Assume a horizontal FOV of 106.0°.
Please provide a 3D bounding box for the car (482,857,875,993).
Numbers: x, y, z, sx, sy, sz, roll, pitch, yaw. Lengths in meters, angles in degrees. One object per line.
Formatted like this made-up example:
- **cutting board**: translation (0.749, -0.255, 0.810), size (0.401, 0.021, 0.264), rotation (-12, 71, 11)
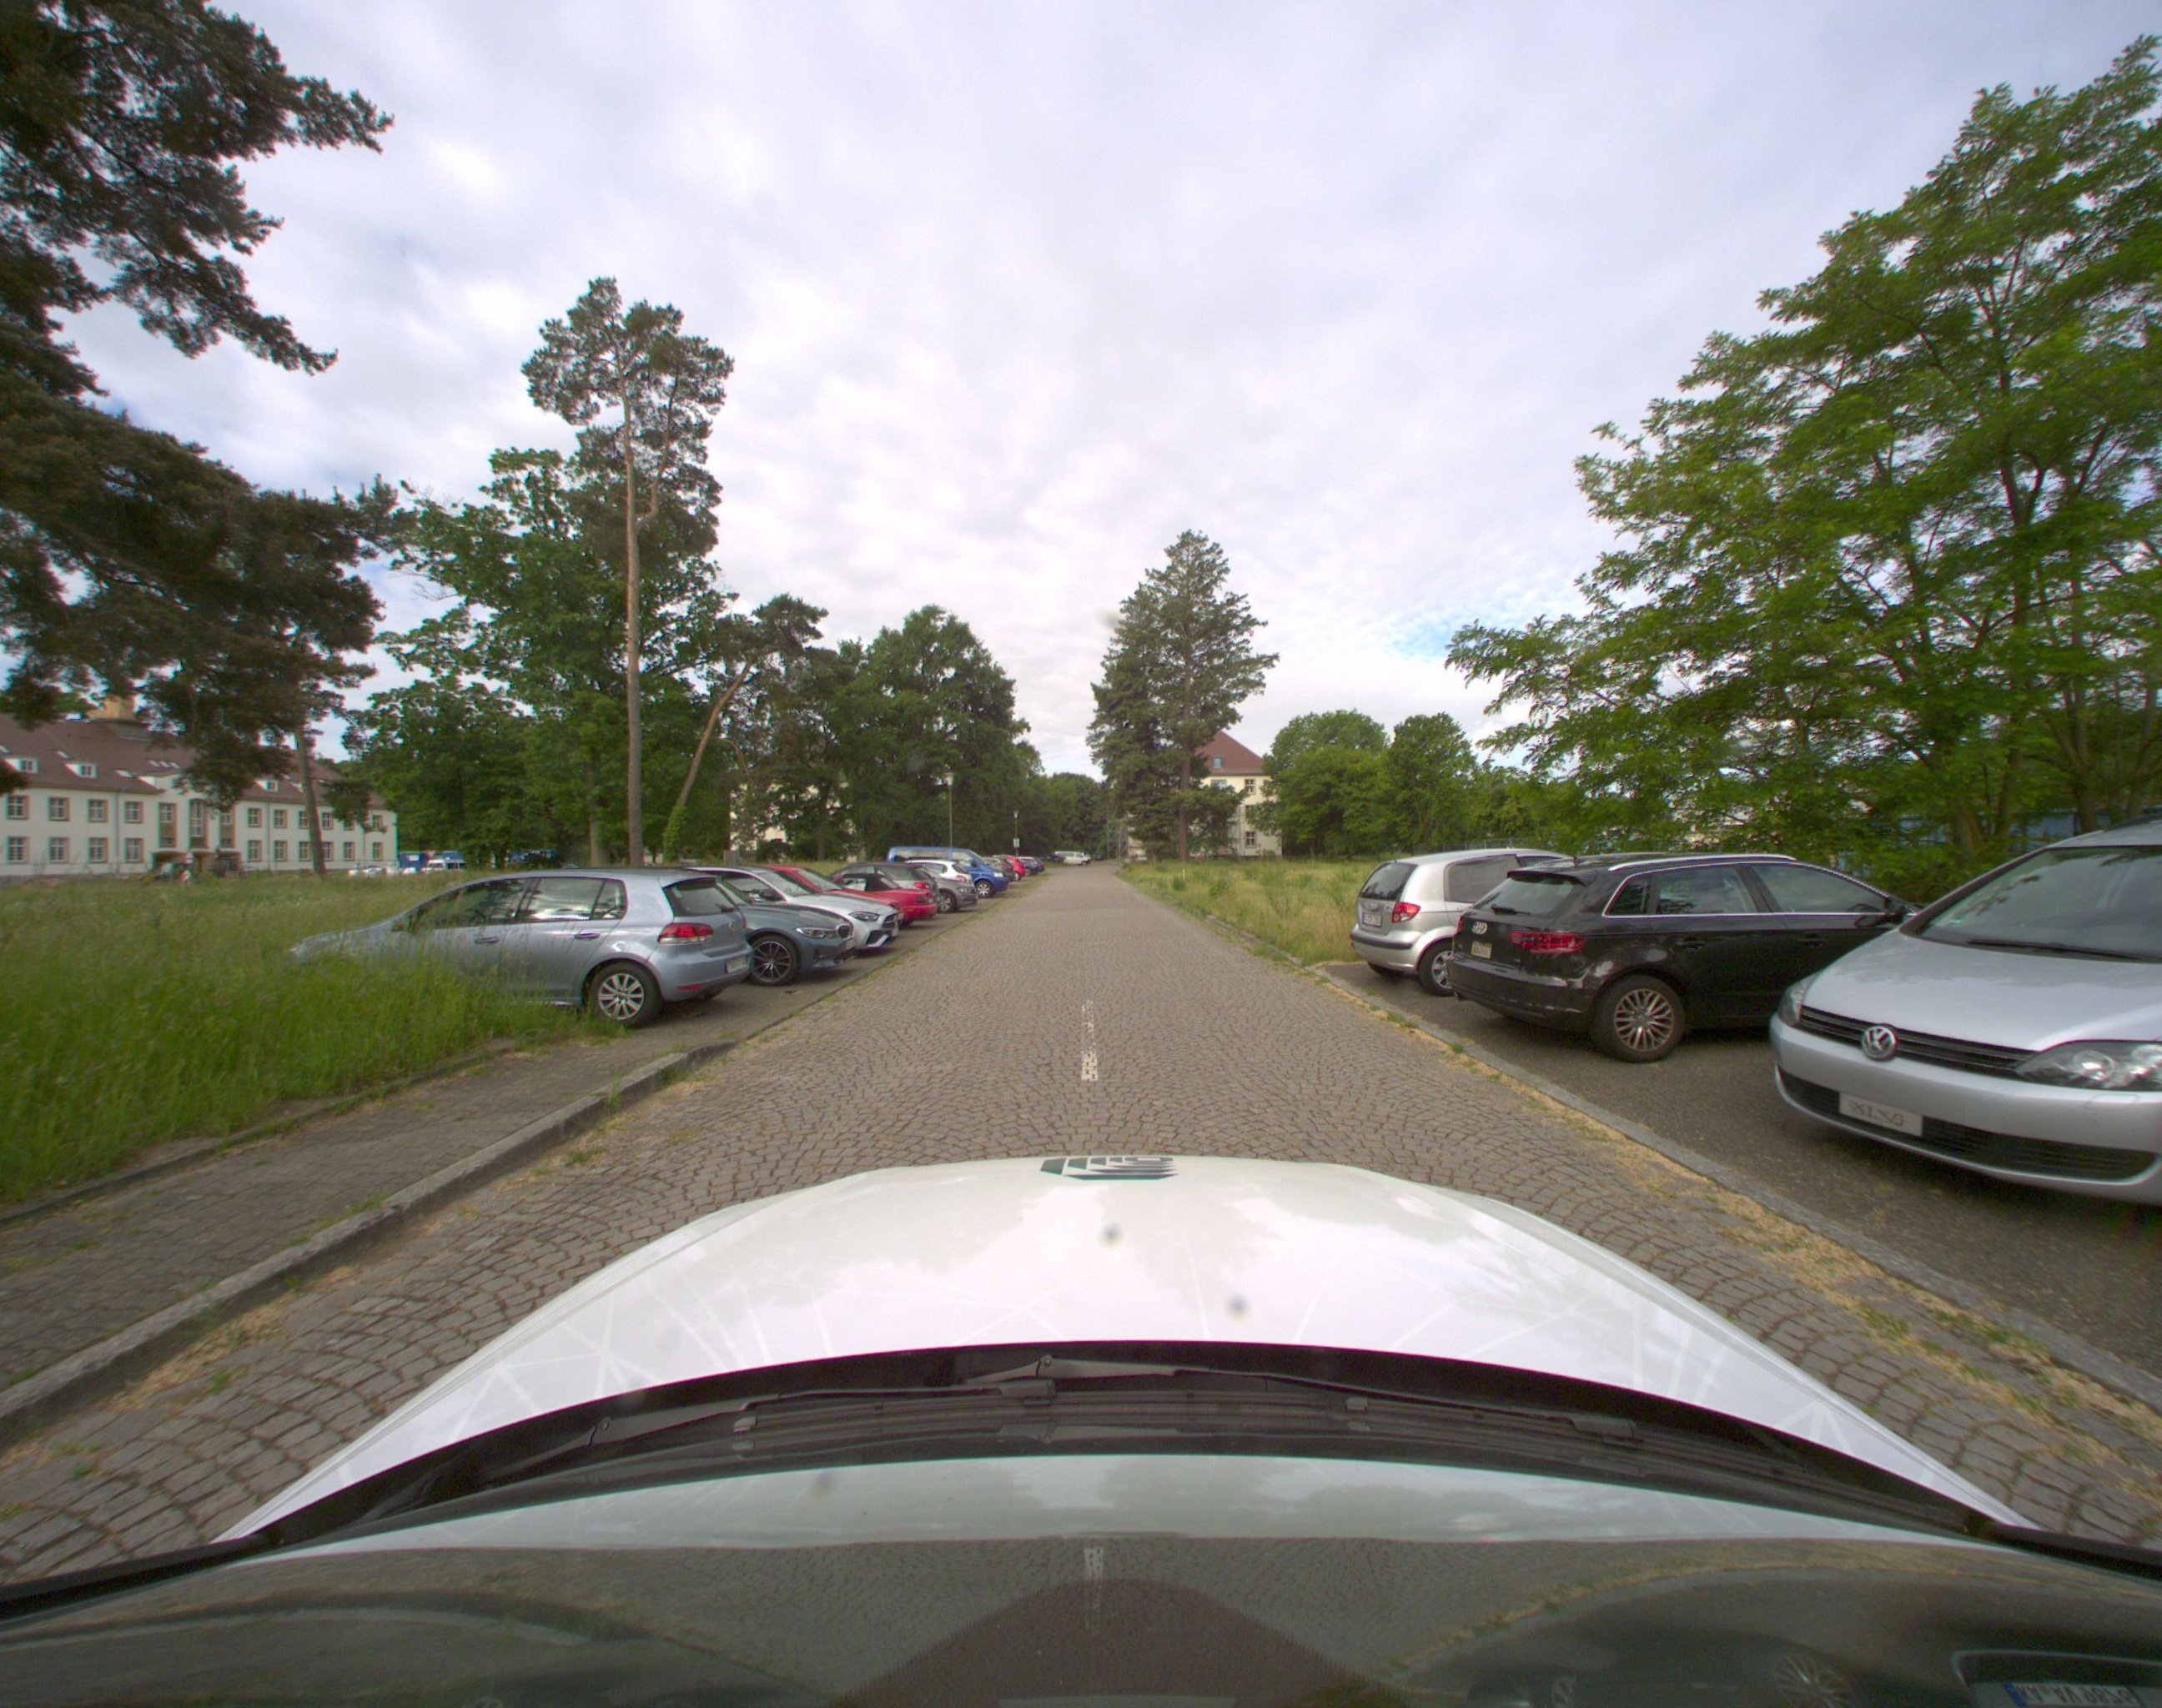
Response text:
- **car**: translation (-5.110, 0.860, 10.882), size (4.242, 1.548, 1.933), rotation (-1, 0, -4)

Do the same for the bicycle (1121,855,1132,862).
- **bicycle**: translation (8.607, 0.886, 154.014), size (2.232, 1.254, 0.634), rotation (-1, -1, 2)

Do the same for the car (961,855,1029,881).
- **car**: translation (-5.373, 0.847, 51.297), size (4.044, 1.525, 1.903), rotation (-1, 0, -2)

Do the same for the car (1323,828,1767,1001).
- **car**: translation (5.116, 0.616, 9.359), size (4.064, 1.515, 1.802), rotation (-4, 0, -3)

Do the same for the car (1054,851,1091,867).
- **car**: translation (-1.194, 0.634, 115.131), size (5.222, 2.168, 1.998), rotation (-1, 0, -3)

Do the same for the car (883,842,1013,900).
- **car**: translation (-5.147, 0.654, 32.050), size (4.768, 2.122, 2.114), rotation (-1, 0, -1)

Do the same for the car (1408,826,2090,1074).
- **car**: translation (5.108, 0.651, 6.650), size (4.064, 1.453, 1.883), rotation (-4, 0, -3)

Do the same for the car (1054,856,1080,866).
- **car**: translation (-2.048, 0.966, 117.711), size (3.780, 1.395, 1.998), rotation (-1, 0, -3)

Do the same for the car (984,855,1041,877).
- **car**: translation (-5.151, 0.890, 61.573), size (4.217, 1.577, 1.886), rotation (0, 0, -2)

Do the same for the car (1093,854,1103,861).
- **car**: translation (3.836, 0.886, 181.474), size (1.946, 1.522, 3.997), rotation (-1, 0, -2)

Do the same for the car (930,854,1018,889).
- **car**: translation (-5.320, 0.852, 40.927), size (4.156, 1.622, 1.984), rotation (-1, 0, -3)

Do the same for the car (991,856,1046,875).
- **car**: translation (-5.031, 0.939, 66.269), size (4.287, 1.461, 1.975), rotation (0, 0, 1)

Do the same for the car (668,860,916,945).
- **car**: translation (-5.508, 0.893, 15.957), size (4.154, 1.476, 1.864), rotation (-1, 0, -1)

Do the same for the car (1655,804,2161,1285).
- **car**: translation (5.535, 0.567, 3.939), size (4.232, 1.596, 1.882), rotation (-4, 0, -4)

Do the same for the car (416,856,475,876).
- **car**: translation (-68.245, 1.287, 87.590), size (1.985, 2.014, 5.233), rotation (-1, -1, 3)

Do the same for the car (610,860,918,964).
- **car**: translation (-5.094, 0.908, 13.618), size (4.363, 1.507, 1.934), rotation (-1, 0, -3)

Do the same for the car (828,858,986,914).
- **car**: translation (-5.003, 0.900, 23.801), size (4.151, 1.491, 1.865), rotation (-1, 0, 1)

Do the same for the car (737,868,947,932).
- **car**: translation (-5.266, 1.002, 18.332), size (4.151, 1.266, 1.831), rotation (-1, 0, 1)

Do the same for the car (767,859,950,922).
- **car**: translation (-5.631, 0.902, 20.983), size (4.152, 1.482, 1.846), rotation (-1, 0, 0)

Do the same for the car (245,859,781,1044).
- **car**: translation (-5.374, 0.865, 8.188), size (3.976, 1.543, 1.904), rotation (-1, 0, -2)

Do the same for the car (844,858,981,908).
- **car**: translation (-5.448, 0.927, 26.752), size (4.054, 1.497, 1.846), rotation (-1, 0, 0)

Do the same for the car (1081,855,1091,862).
- **car**: translation (1.167, 0.940, 181.144), size (2.113, 1.522, 3.998), rotation (-1, 0, -1)
